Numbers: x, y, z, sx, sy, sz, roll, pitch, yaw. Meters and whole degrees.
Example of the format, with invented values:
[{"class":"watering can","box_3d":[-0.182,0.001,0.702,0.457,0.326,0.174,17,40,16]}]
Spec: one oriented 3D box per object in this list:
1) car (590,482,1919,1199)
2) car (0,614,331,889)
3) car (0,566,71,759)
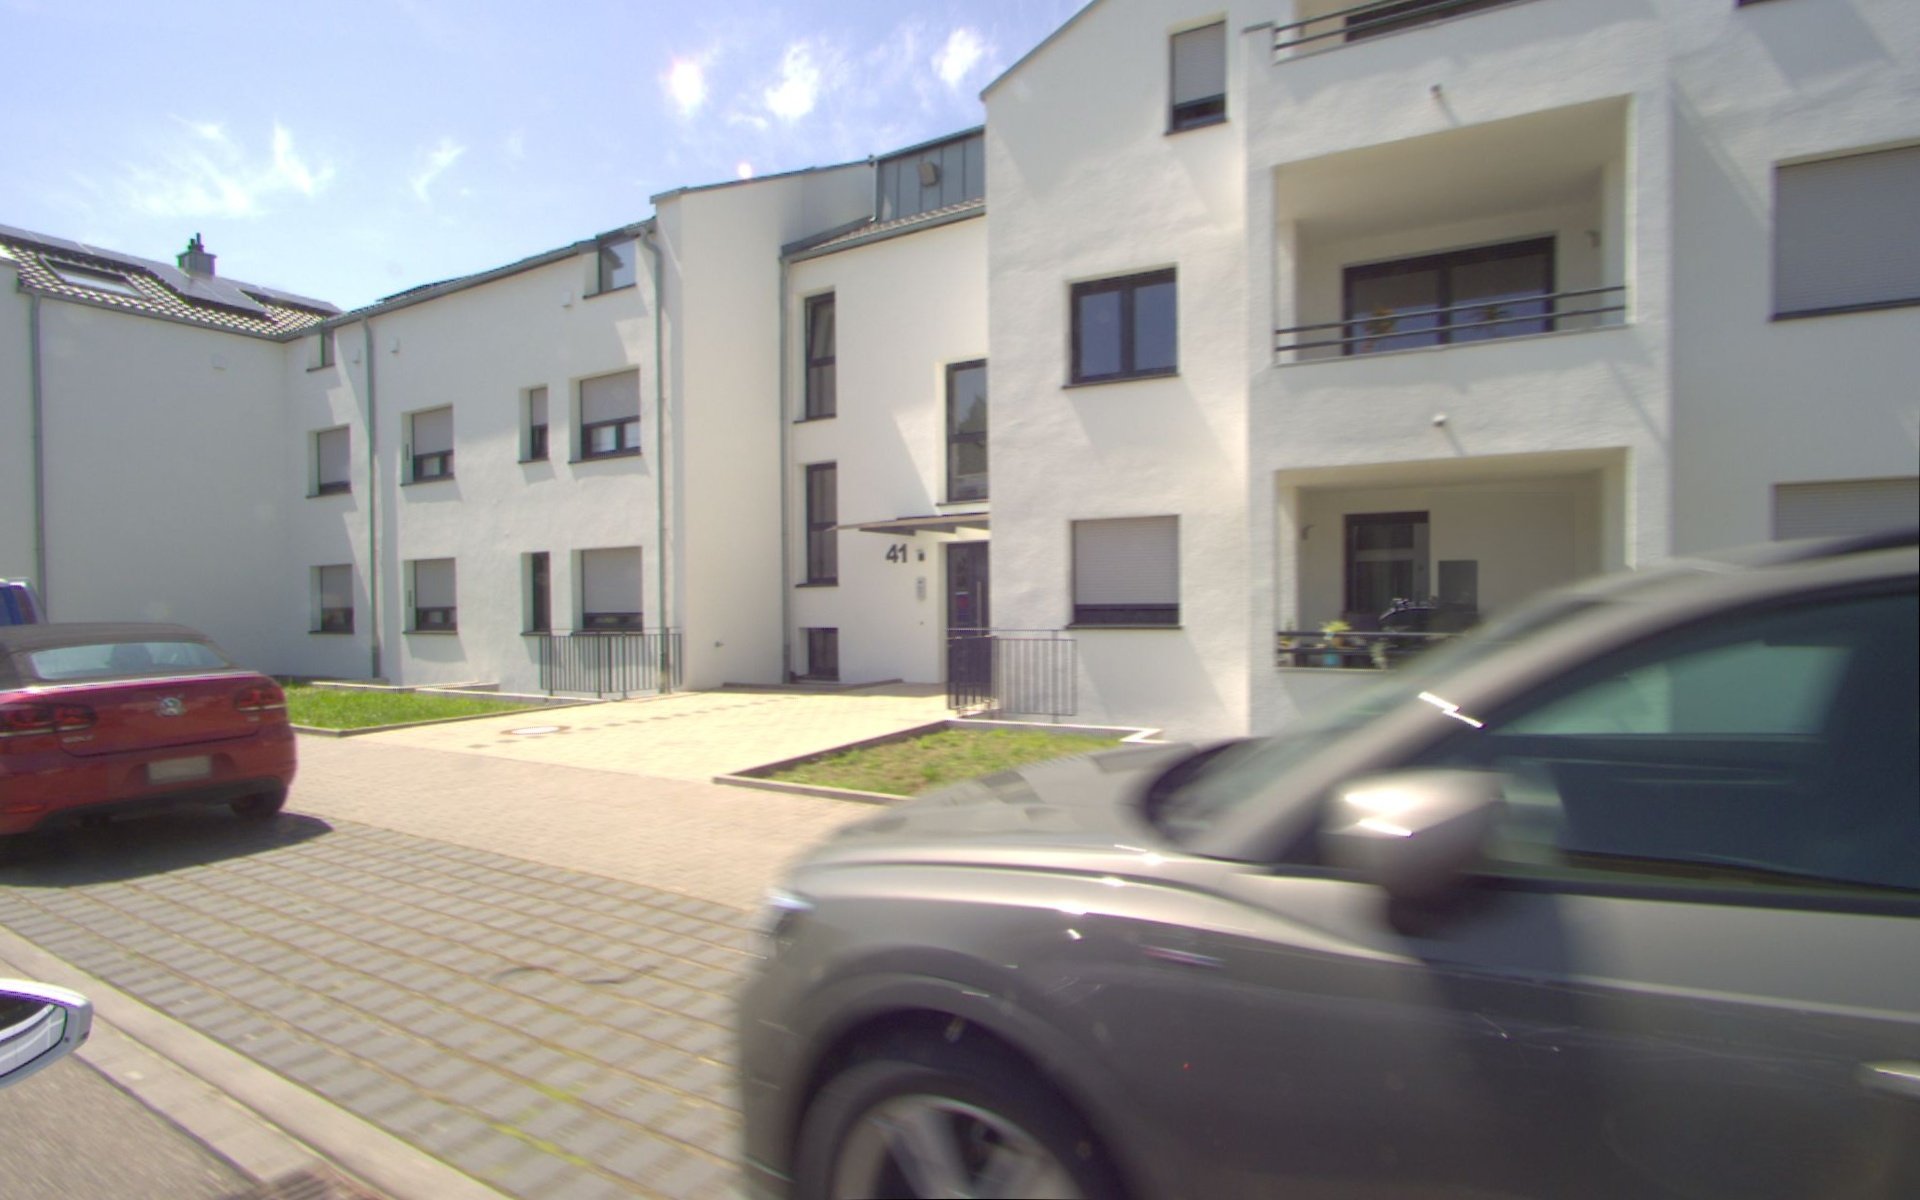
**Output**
[{"class":"car","box_3d":[1.446,0.681,1.874,4.216,1.616,1.770,-1,0,31]},{"class":"car","box_3d":[-6.412,0.840,7.122,3.967,1.461,1.677,-1,0,31]},{"class":"car","box_3d":[-11.762,0.648,10.839,4.776,1.907,2.094,-1,0,34]}]
